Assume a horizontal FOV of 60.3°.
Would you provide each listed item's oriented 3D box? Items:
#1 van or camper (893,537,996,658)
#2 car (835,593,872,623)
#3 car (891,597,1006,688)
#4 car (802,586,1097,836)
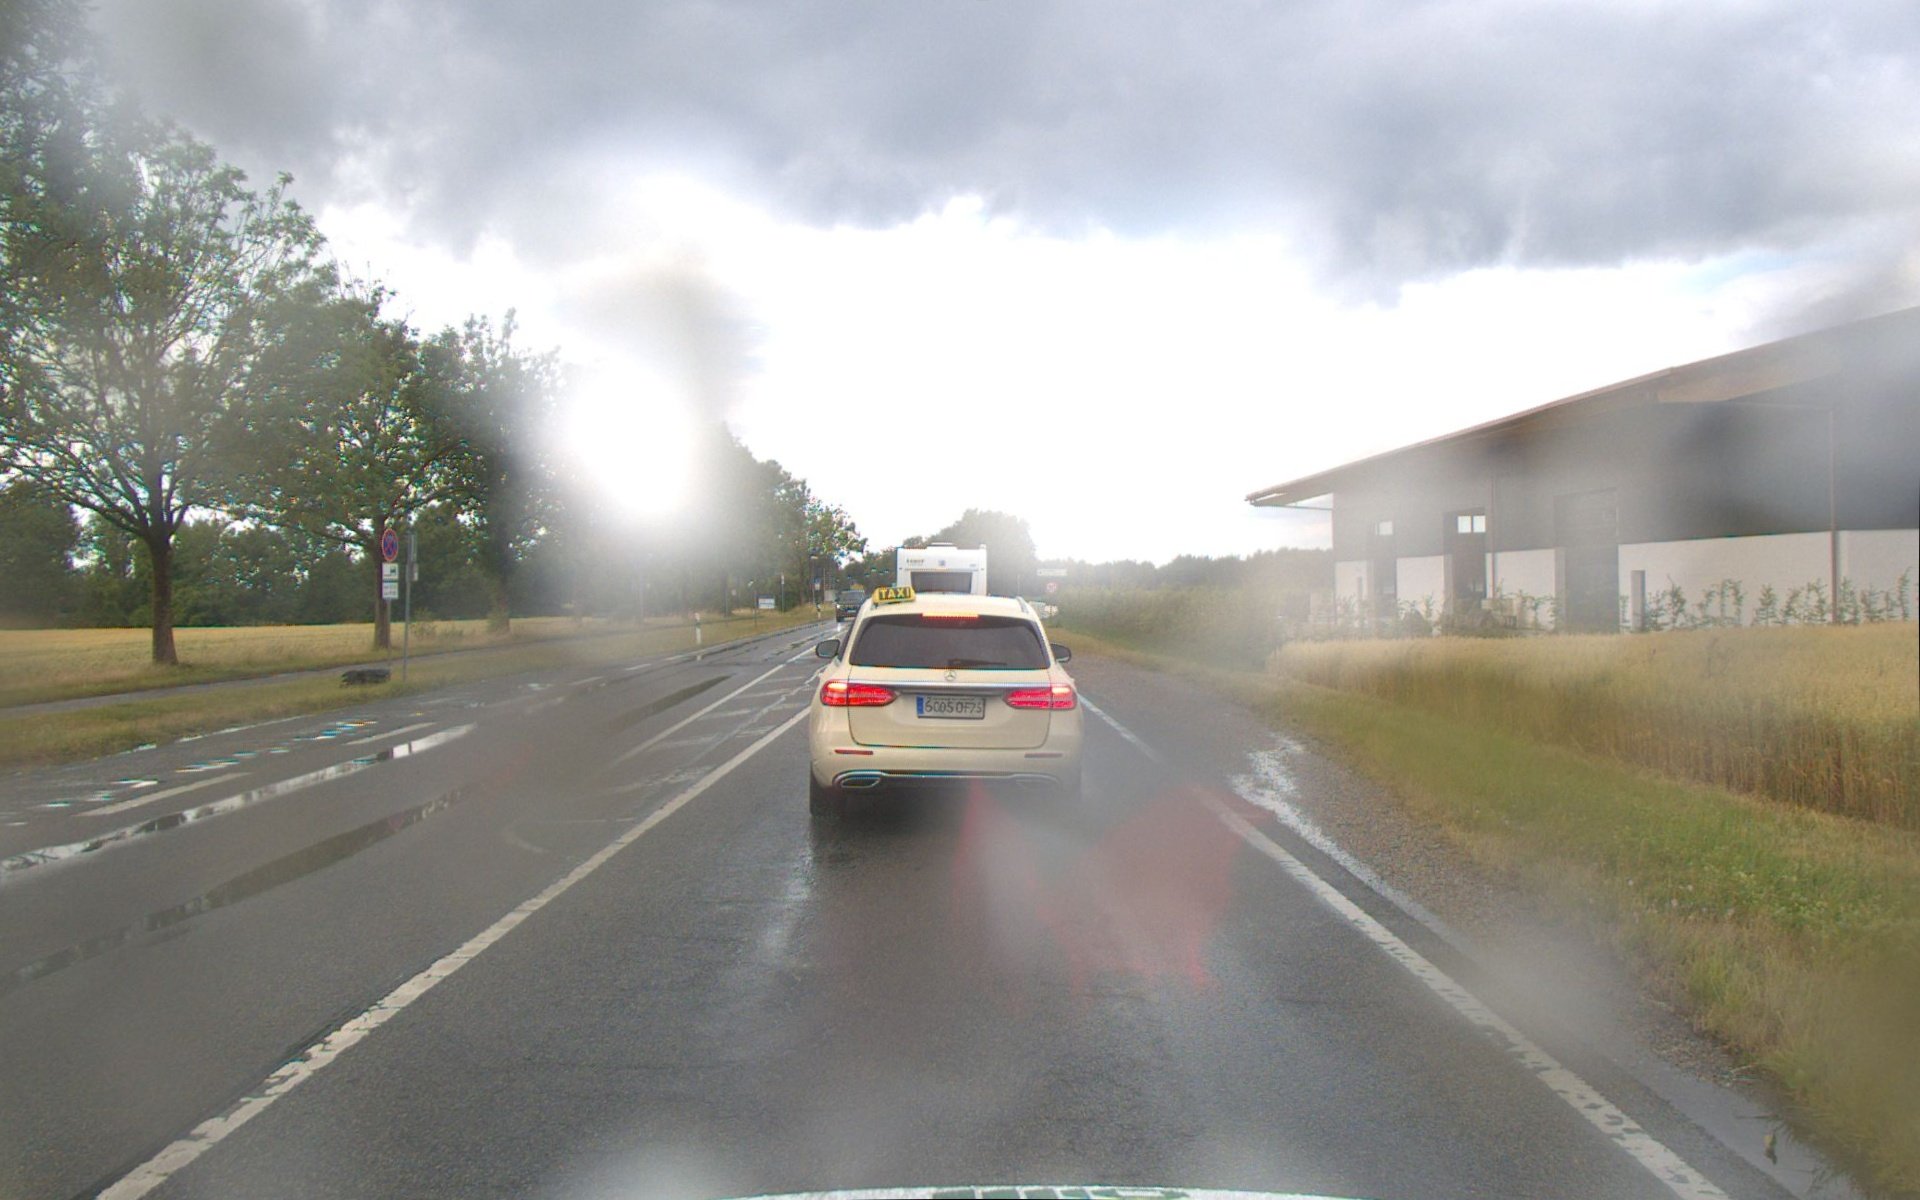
[{"bbox_3d":[-0.371,-0.078,43.393,2.446,2.880,5.933,-2,0,0],"label":"van or camper"},{"bbox_3d":[-6.073,0.444,94.581,1.877,1.660,4.356,-2,0,-1],"label":"car"},{"bbox_3d":[-0.230,0.678,28.465,1.856,1.454,3.927,0,0,-2],"label":"car"},{"bbox_3d":[-0.077,0.657,11.926,1.760,1.490,4.030,0,0,-1],"label":"car"}]
